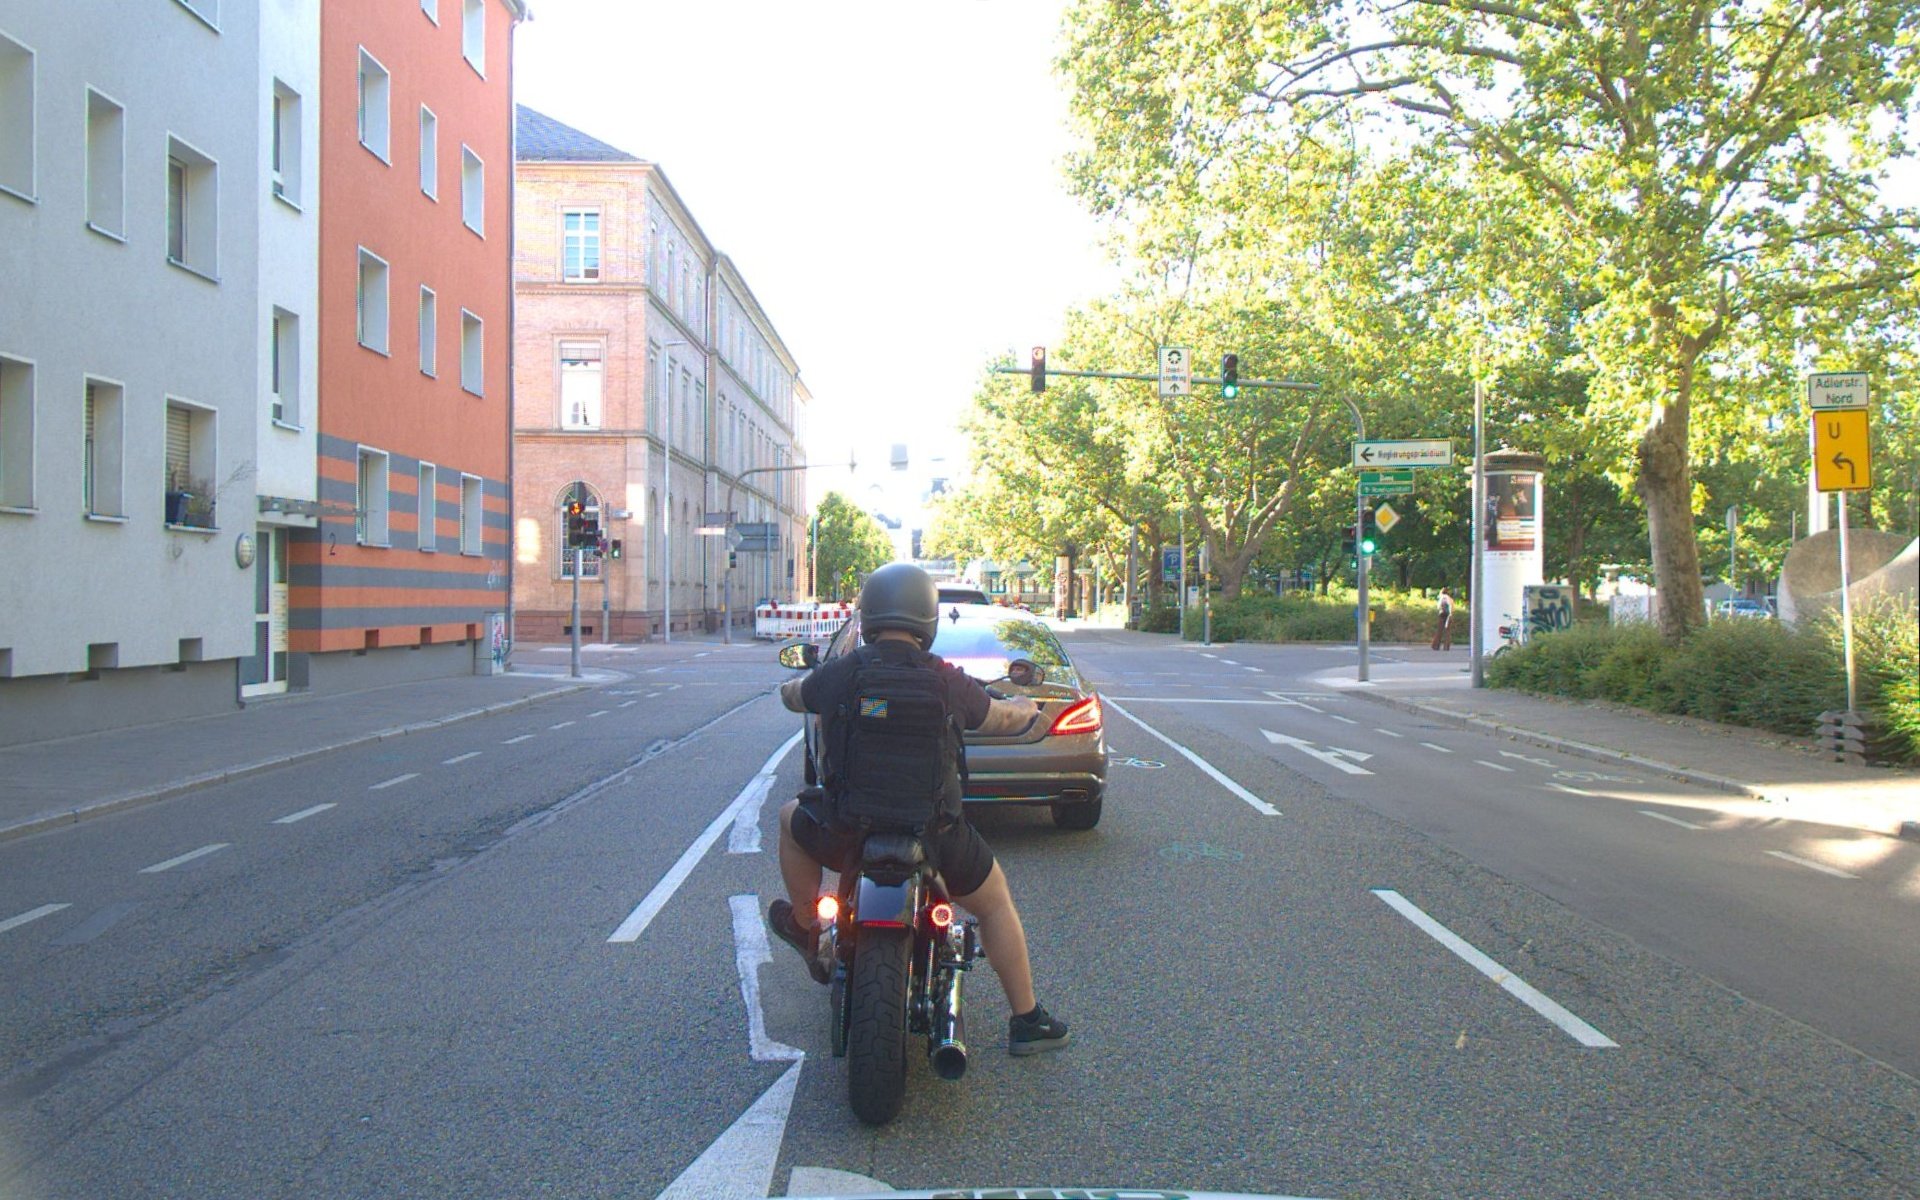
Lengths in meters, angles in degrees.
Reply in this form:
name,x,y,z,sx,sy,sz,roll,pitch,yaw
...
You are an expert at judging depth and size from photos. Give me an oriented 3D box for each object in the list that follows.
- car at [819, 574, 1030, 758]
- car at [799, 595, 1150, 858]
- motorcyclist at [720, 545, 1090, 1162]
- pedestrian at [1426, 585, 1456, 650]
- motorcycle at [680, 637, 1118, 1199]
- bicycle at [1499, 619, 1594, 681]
name,x,y,z,sx,sy,sz,roll,pitch,yaw
car,-0.363,0.628,17.546,1.953,1.695,3.999,1,0,-1
car,-0.114,0.704,11.627,1.834,1.469,4.422,0,0,-8
motorcyclist,-0.151,0.658,4.944,0.961,1.606,1.248,0,0,-1
pedestrian,13.492,0.494,46.404,0.664,1.803,0.616,1,-1,29
motorcycle,-0.150,0.792,4.846,0.961,1.297,2.407,0,0,-1
bicycle,9.787,0.836,27.603,1.452,0.997,0.299,1,-1,5
